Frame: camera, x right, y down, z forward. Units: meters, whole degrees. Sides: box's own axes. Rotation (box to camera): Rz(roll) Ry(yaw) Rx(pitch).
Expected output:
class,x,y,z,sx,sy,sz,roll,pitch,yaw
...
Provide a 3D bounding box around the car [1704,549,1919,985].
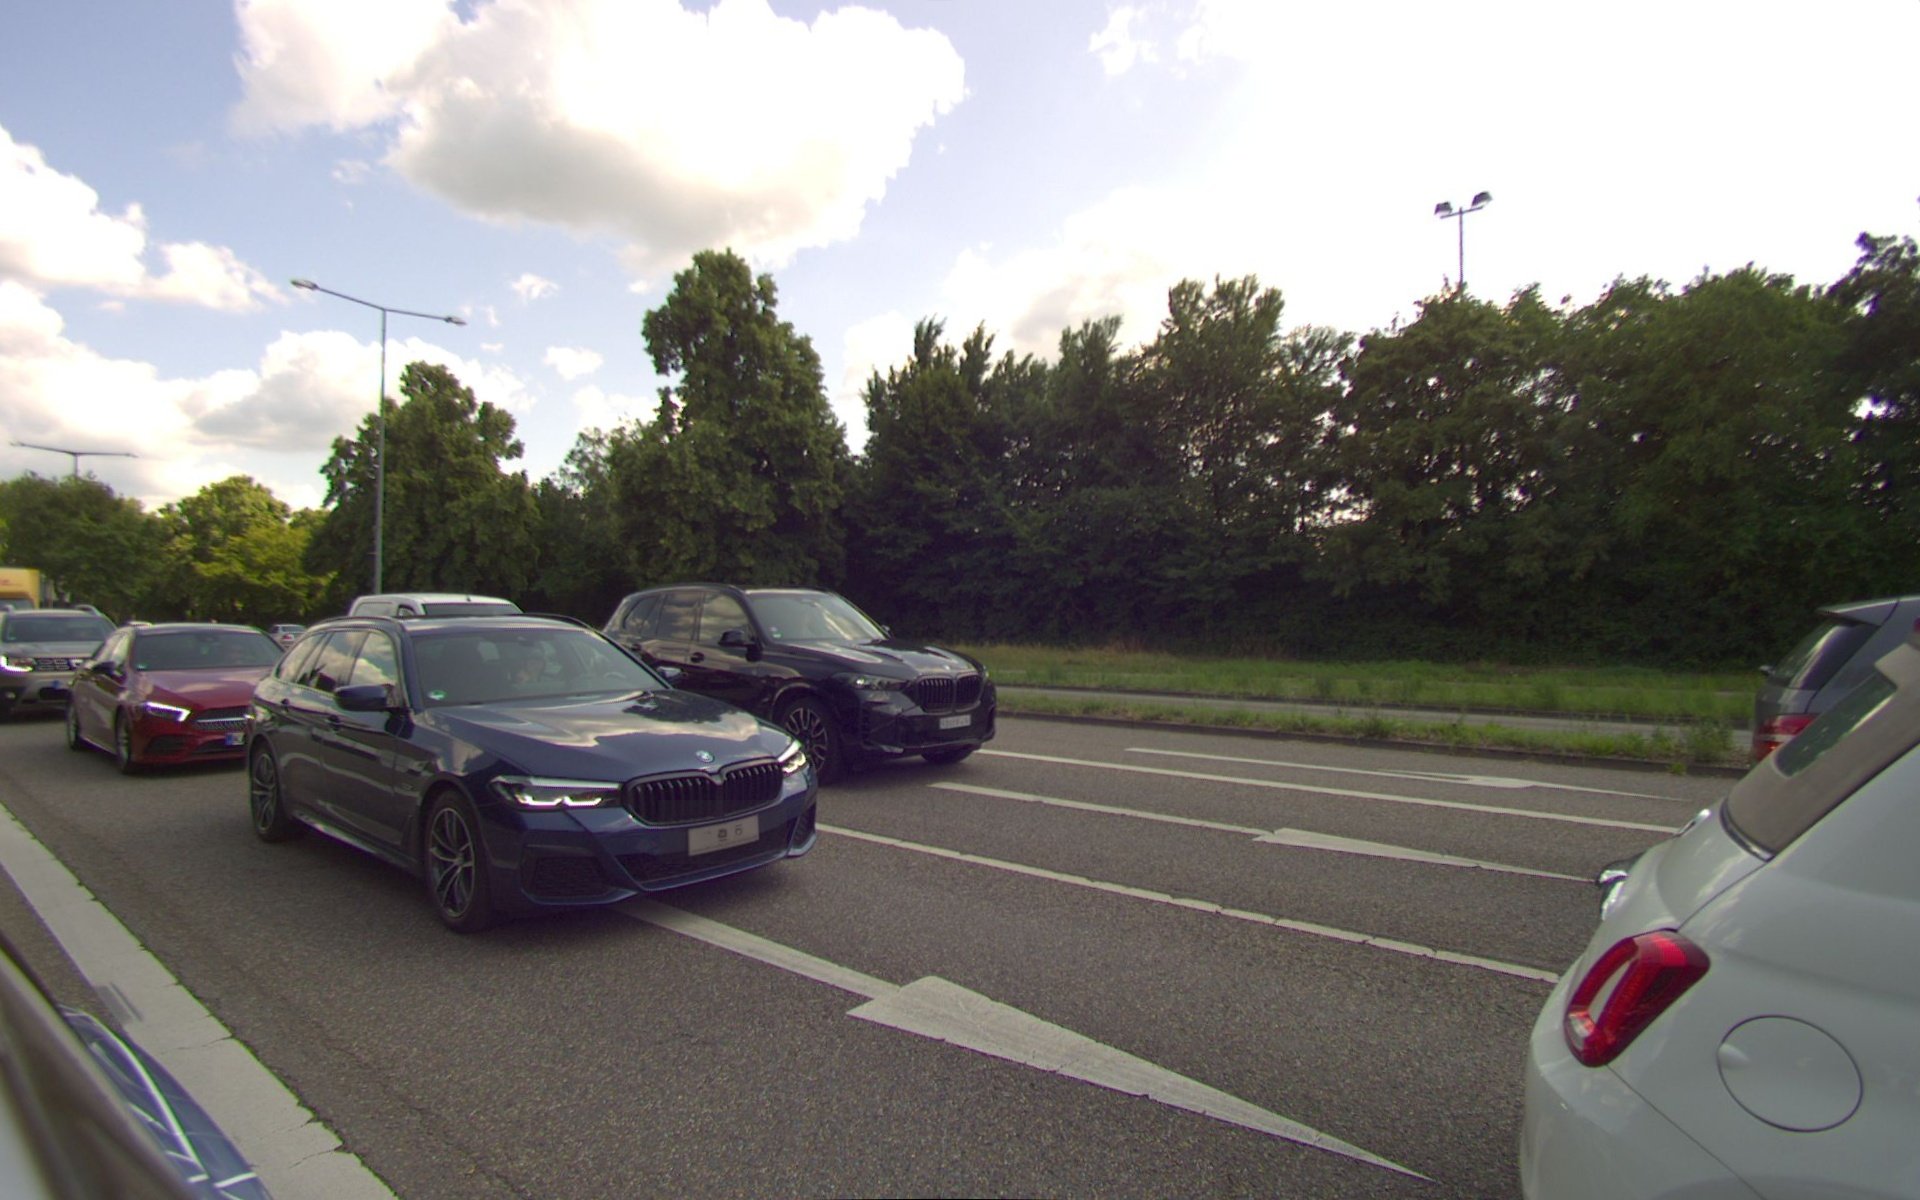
class,x,y,z,sx,sy,sz,roll,pitch,yaw
car,5.291,0.616,3.415,4.358,1.631,1.681,-1,-1,41

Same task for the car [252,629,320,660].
class,x,y,z,sx,sy,sz,roll,pitch,yaw
car,-32.547,2.146,48.822,4.236,1.435,1.650,-2,-3,41

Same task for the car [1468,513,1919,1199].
class,x,y,z,sx,sy,sz,roll,pitch,yaw
car,2.634,0.628,0.998,3.538,1.508,1.553,-1,0,41

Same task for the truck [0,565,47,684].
class,x,y,z,sx,sy,sz,roll,pitch,yaw
truck,-25.981,0.661,26.459,6.963,2.881,2.333,-1,-1,41

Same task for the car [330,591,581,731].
class,x,y,z,sx,sy,sz,roll,pitch,yaw
car,-7.767,0.816,15.361,4.728,1.812,1.747,-1,-1,41

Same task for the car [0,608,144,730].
class,x,y,z,sx,sy,sz,roll,pitch,yaw
car,-13.922,0.944,15.370,4.174,1.624,1.705,-1,-1,41

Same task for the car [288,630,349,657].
class,x,y,z,sx,sy,sz,roll,pitch,yaw
car,-35.364,2.385,55.779,4.236,1.398,1.650,-1,-3,41

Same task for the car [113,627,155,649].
class,x,y,z,sx,sy,sz,roll,pitch,yaw
car,-57.792,2.614,70.805,3.998,1.397,1.650,-1,0,41

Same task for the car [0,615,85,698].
class,x,y,z,sx,sy,sz,roll,pitch,yaw
car,-19.492,1.104,20.838,3.892,1.542,1.705,-1,0,41

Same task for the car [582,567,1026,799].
class,x,y,z,sx,sy,sz,roll,pitch,yaw
car,-1.702,0.659,9.867,4.547,1.759,1.794,-1,-1,41

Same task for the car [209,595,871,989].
class,x,y,z,sx,sy,sz,roll,pitch,yaw
car,-2.876,0.761,6.189,4.871,1.508,1.778,-1,0,41

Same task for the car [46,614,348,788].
class,x,y,z,sx,sy,sz,roll,pitch,yaw
car,-8.342,0.916,10.896,4.533,1.473,1.705,-1,0,41
